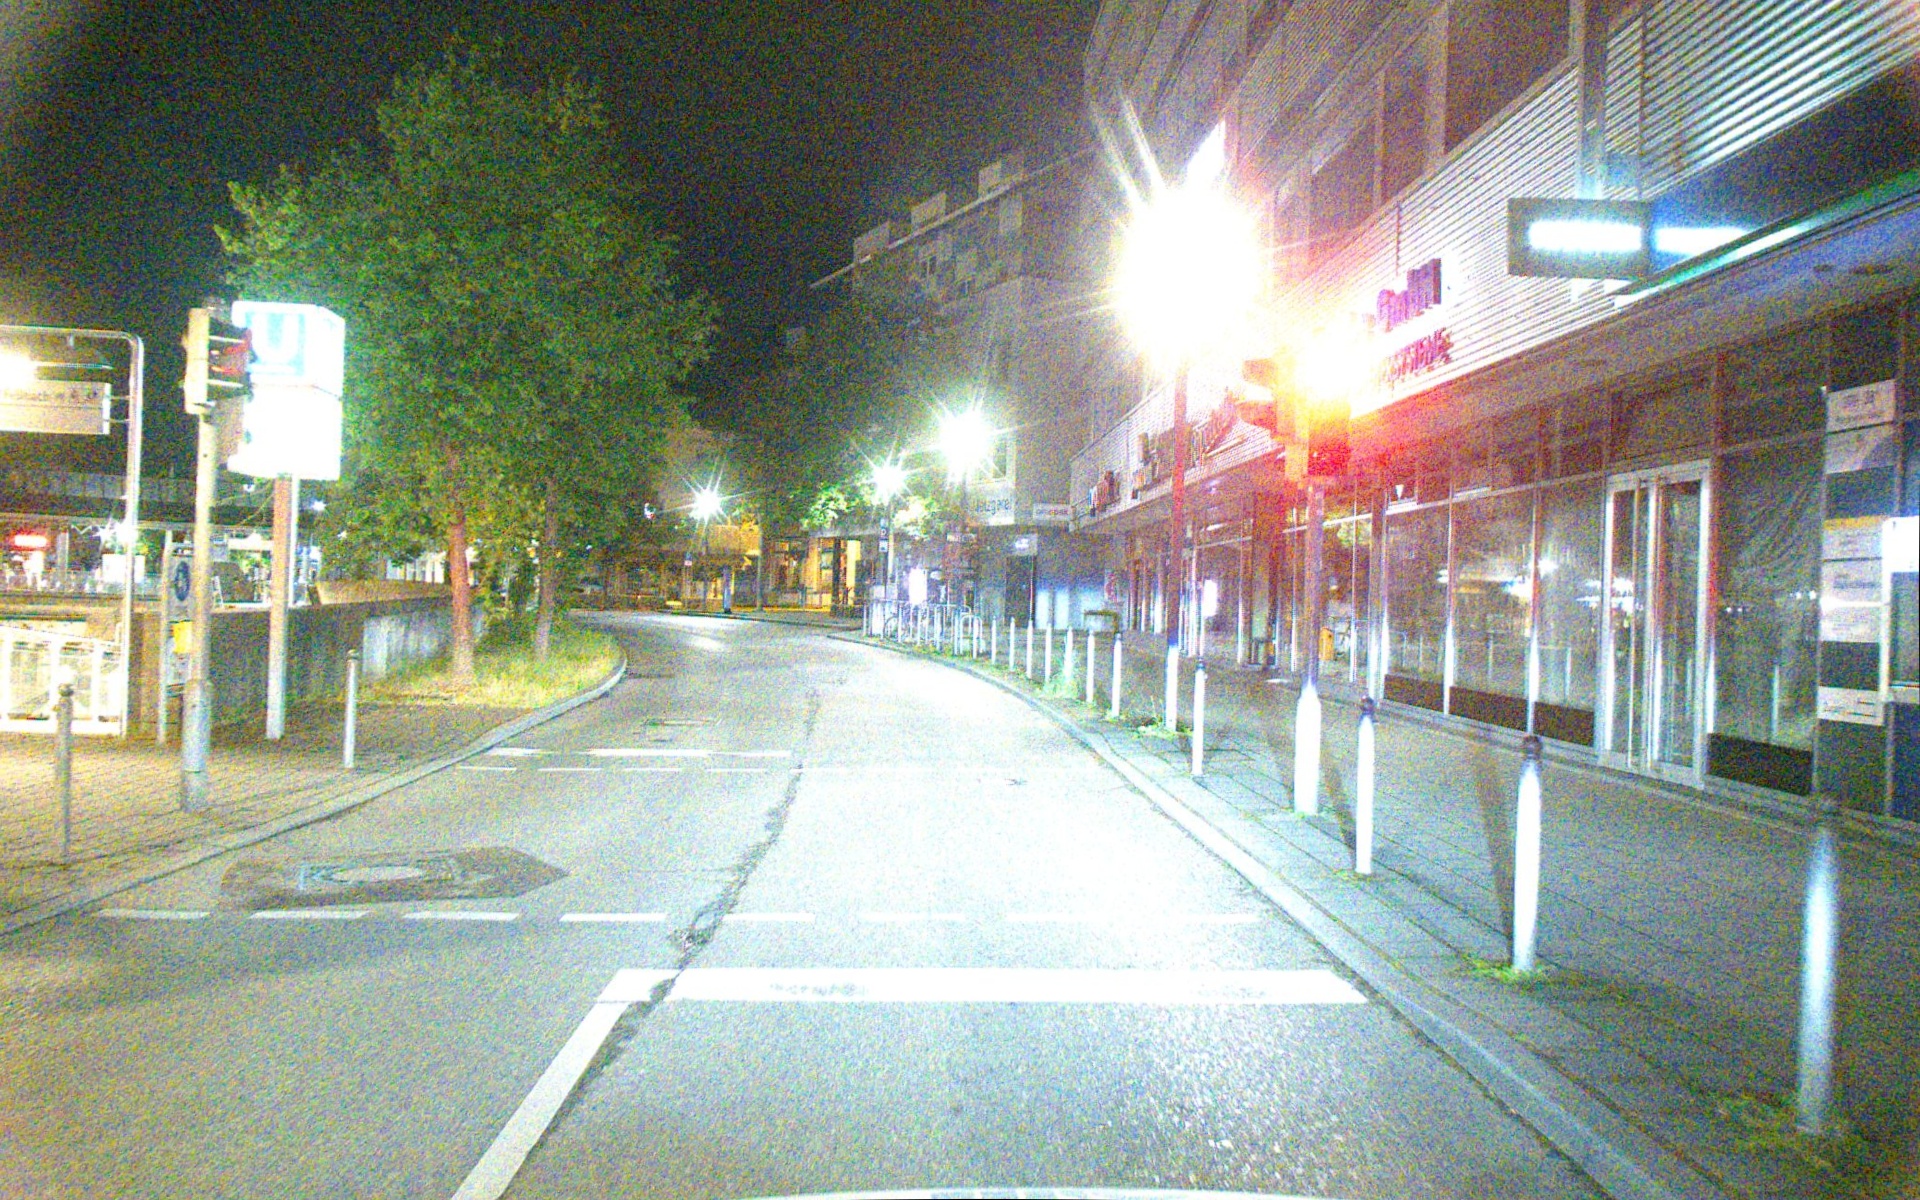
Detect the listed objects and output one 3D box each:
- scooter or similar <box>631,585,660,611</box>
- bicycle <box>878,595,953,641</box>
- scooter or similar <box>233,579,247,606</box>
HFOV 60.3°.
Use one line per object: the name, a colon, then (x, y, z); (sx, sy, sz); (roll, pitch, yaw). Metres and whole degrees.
scooter or similar: (-15.763, -0.099, 82.946); (1.232, 1.248, 0.593); (3, 0, -29)
bicycle: (-1.089, 0.446, 40.748); (1.728, 1.081, 0.650); (1, 1, -27)
scooter or similar: (-36.021, -0.371, 82.779); (0.426, 1.307, 1.132); (0, 1, -35)
